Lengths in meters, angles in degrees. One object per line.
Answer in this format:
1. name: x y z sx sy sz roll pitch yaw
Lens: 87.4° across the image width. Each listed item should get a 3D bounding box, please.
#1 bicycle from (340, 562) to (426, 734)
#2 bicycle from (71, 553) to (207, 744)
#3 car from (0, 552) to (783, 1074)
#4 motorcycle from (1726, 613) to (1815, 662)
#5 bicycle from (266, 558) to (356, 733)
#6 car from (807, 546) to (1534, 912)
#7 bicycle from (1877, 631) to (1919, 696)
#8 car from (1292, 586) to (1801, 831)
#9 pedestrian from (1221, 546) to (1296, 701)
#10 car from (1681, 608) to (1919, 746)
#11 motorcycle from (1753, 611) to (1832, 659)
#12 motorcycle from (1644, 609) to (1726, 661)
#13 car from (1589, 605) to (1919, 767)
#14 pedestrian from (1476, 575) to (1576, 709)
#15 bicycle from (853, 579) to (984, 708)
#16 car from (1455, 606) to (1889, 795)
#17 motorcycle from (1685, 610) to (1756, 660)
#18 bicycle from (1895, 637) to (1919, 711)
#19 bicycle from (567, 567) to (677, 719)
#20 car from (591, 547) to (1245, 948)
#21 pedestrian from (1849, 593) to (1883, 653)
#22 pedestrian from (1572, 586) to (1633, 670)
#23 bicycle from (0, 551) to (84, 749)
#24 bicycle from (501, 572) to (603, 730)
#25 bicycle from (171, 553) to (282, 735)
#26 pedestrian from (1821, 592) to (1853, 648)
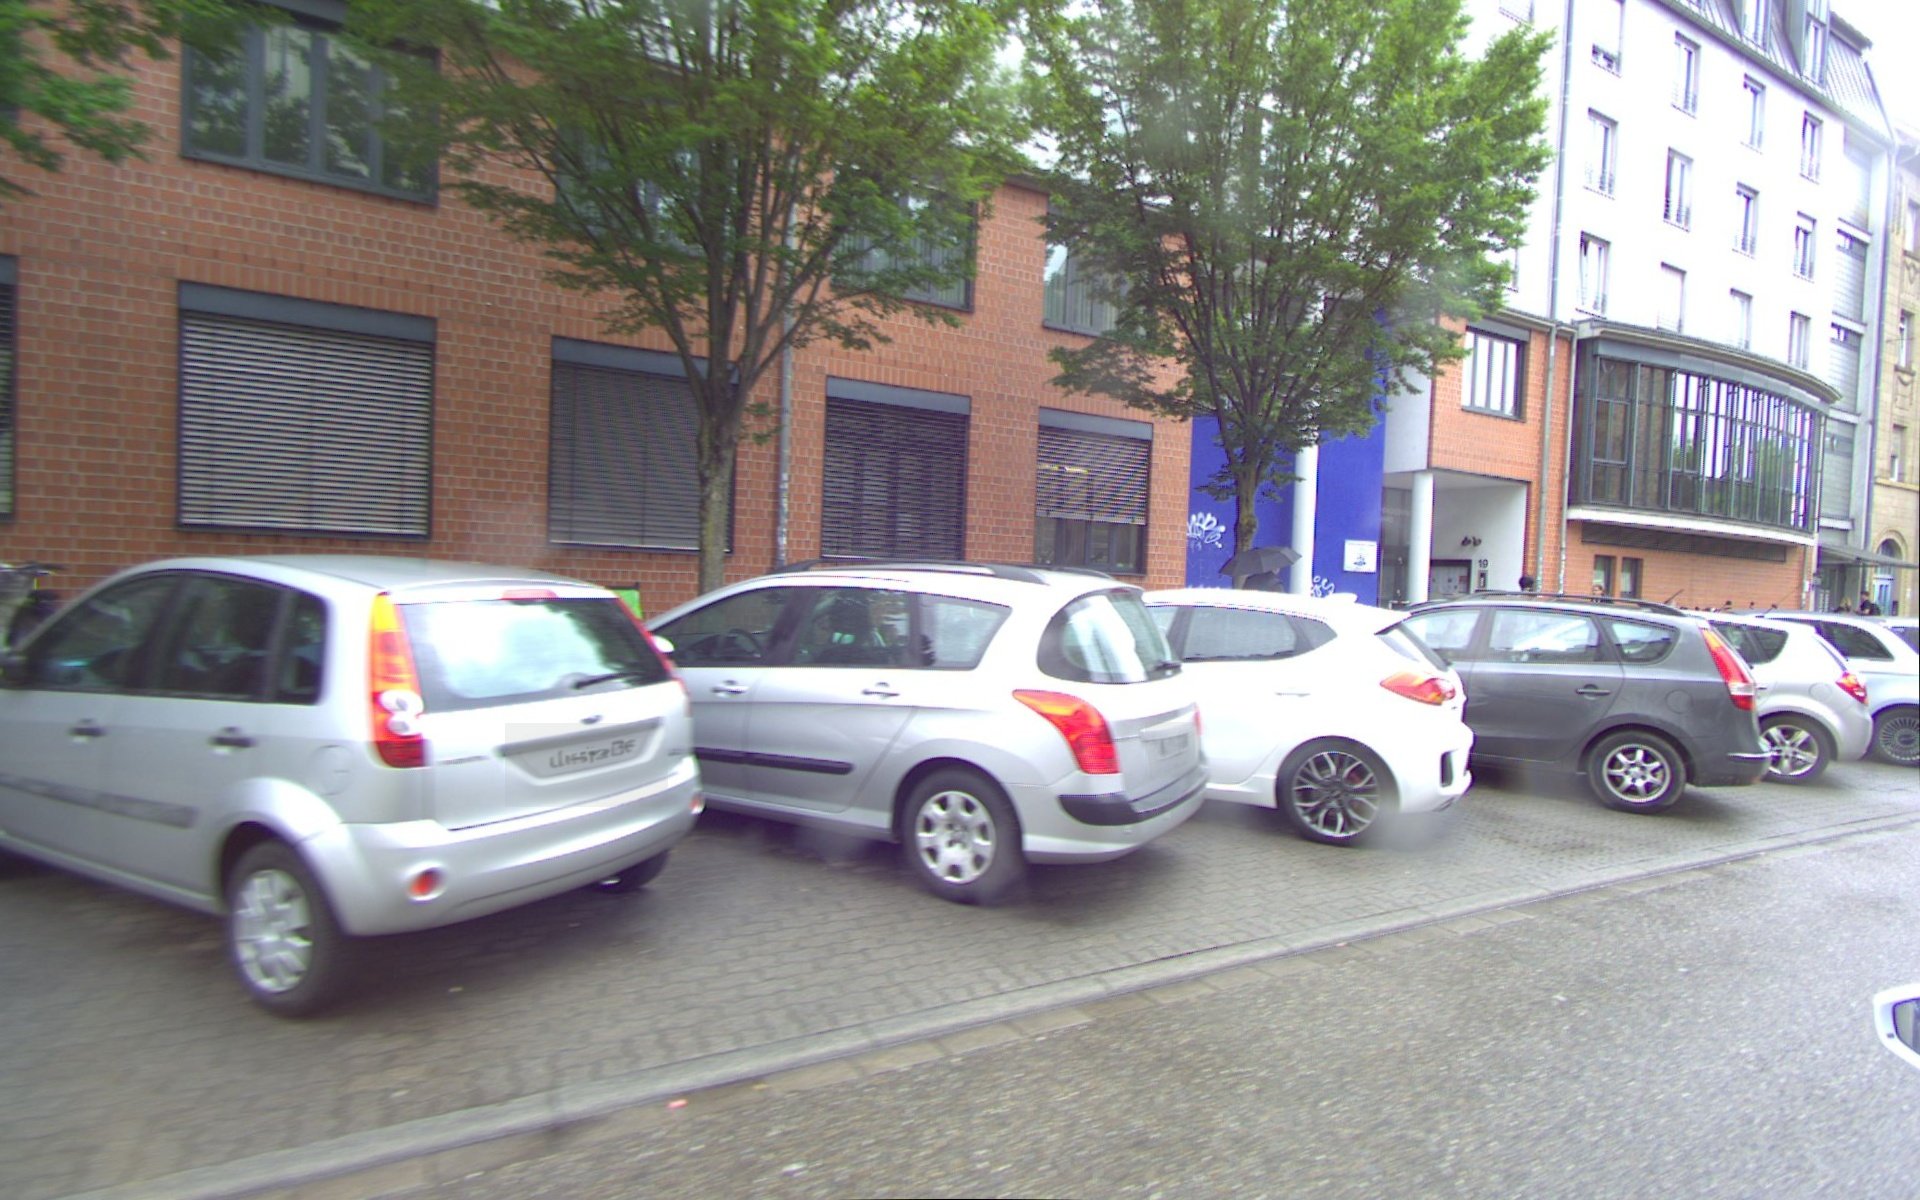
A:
1. bicycle: -4.911 0.339 8.508 0.547 1.168 1.885 1 5 -32
2. bicycle: -6.224 0.298 7.688 0.547 1.168 1.885 1 5 -32
3. car: -2.783 0.574 4.389 3.644 1.471 1.684 1 0 26
4. motorcycle: 21.625 1.000 26.799 2.082 1.190 0.752 2 3 -18
5. bicycle: -5.340 0.310 8.319 0.547 1.168 1.885 1 5 -32
6. car: 1.448 0.628 7.242 4.443 1.559 2.334 7 2 28
7. bicycle: 17.464 1.171 17.644 0.500 1.112 1.905 1 2 -28
8. car: 4.730 0.743 8.503 3.325 1.562 1.678 3 1 30
9. pedestrian: 3.430 0.260 11.577 0.428 1.730 0.608 3 0 -29
10. car: 11.718 0.969 12.874 3.763 1.527 1.985 3 1 30
11. motorcycle: 23.072 0.964 27.850 1.747 1.190 0.572 3 3 -7
12. motorcycle: 17.907 0.874 24.798 2.090 1.190 0.750 2 3 -30
13. car: 9.294 0.902 11.574 3.326 1.527 1.677 3 1 30
14. pedestrian: 7.892 0.564 14.022 0.746 1.776 0.823 1 3 -23
15. bicycle: -0.509 0.435 11.223 0.547 1.168 1.885 1 5 -32
16. car: 6.971 0.890 10.286 3.324 1.477 1.678 3 1 27
17. motorcycle: 19.685 0.898 25.977 2.093 1.190 0.748 1 4 -34
18. bicycle: 15.323 1.186 15.120 0.501 1.112 1.711 1 3 -34
19. bicycle: -3.270 0.355 9.603 0.547 1.168 1.885 1 5 -32
20. car: -0.258 0.592 5.705 3.324 1.676 1.631 1 0 28
21. pedestrian: 27.462 0.680 30.453 0.652 1.780 0.794 2 0 37
22. pedestrian: 12.593 0.539 19.698 0.599 1.572 0.707 1 3 -23
23. bicycle: -6.938 0.300 7.297 0.547 1.168 1.885 1 5 -32
24. bicycle: -3.819 0.414 9.316 0.547 1.168 1.885 1 5 -32
25. bicycle: -5.794 0.279 8.004 0.547 1.168 1.885 1 5 -32
26. pedestrian: 26.935 0.606 30.860 0.652 1.697 0.794 2 0 37
